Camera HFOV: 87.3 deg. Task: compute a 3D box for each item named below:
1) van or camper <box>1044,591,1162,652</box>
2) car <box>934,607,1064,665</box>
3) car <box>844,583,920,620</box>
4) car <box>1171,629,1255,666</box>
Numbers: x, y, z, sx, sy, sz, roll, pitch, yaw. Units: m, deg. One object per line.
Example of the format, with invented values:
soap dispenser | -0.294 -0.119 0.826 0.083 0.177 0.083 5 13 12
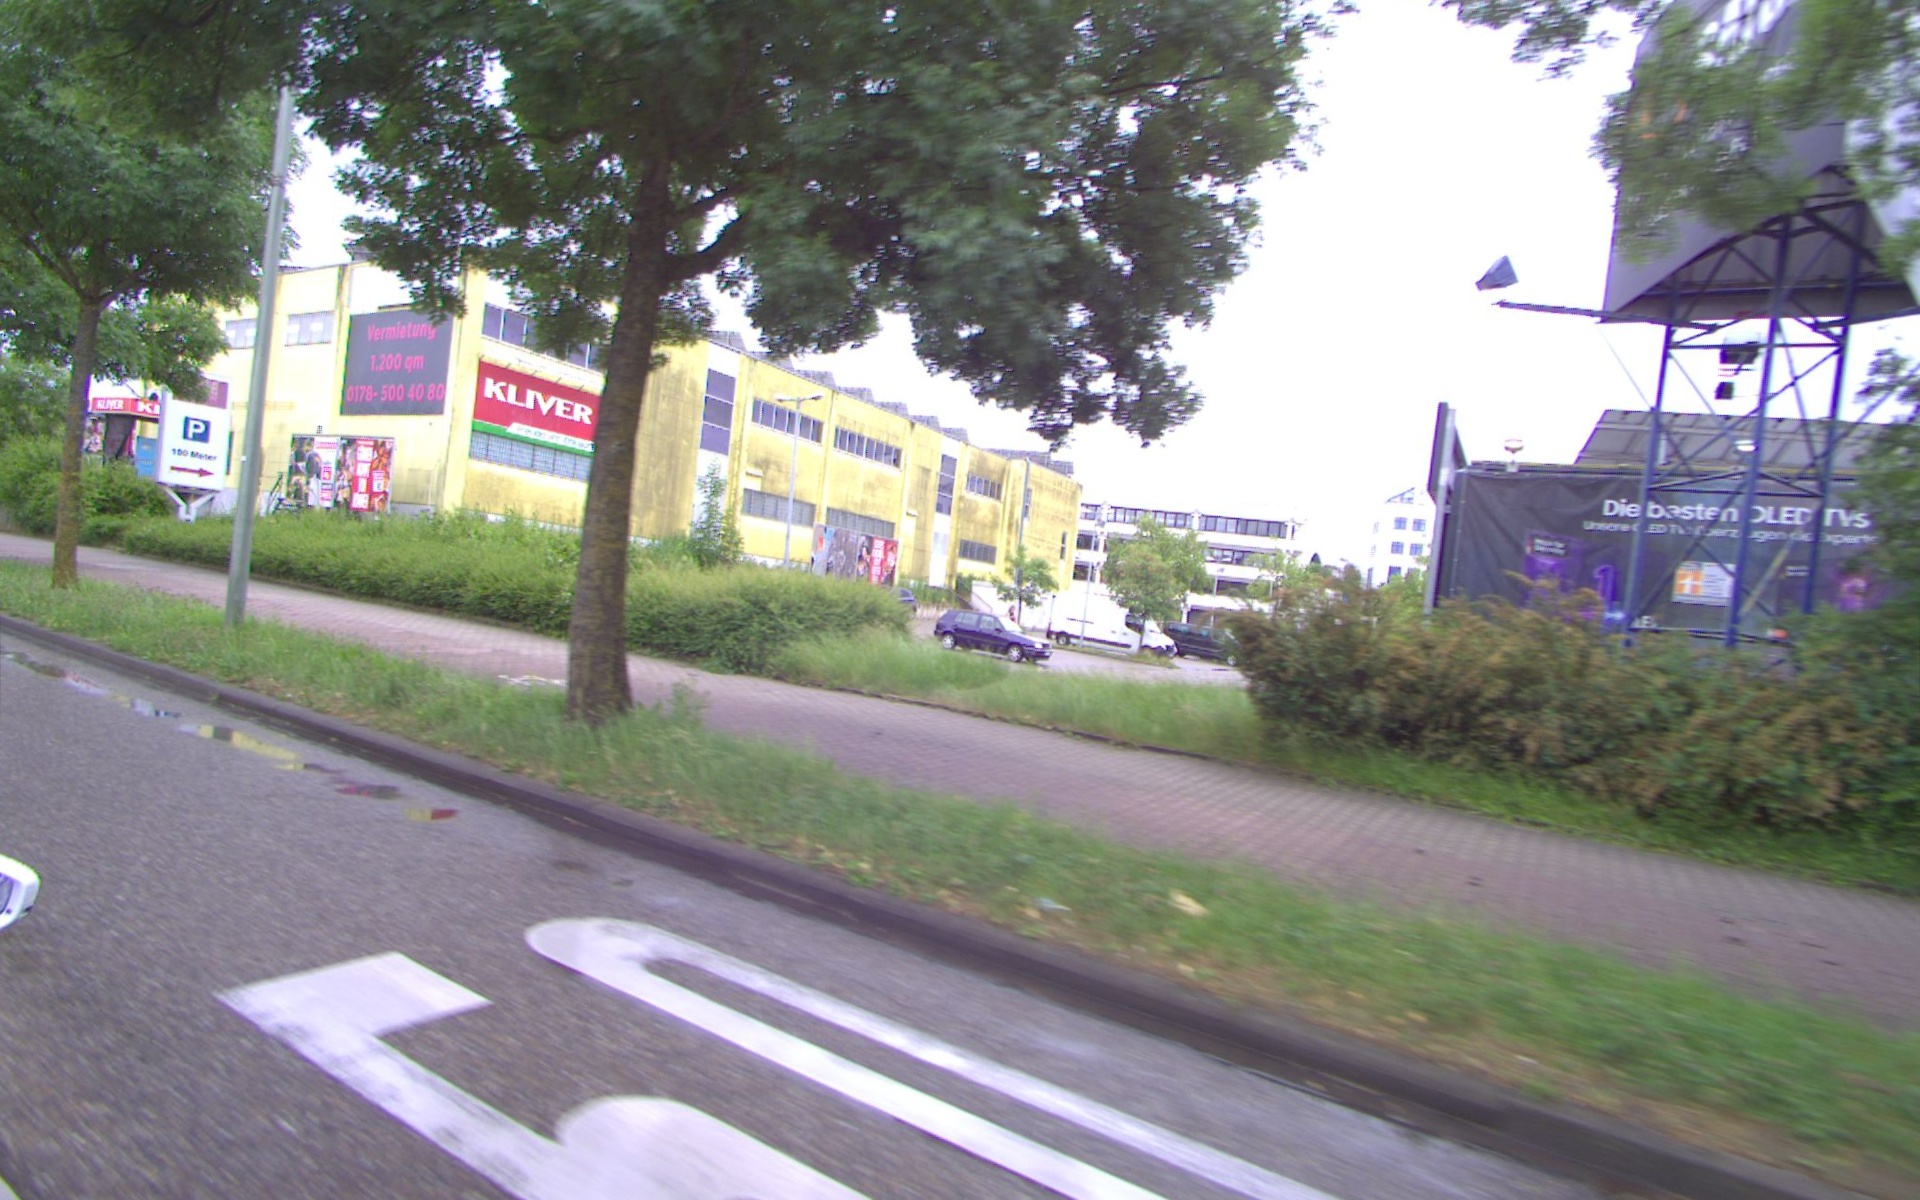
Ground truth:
van or camper | 6.799 1.003 47.946 4.941 2.282 2.151 7 0 32
car | 1.292 1.196 33.241 3.706 1.364 1.909 8 0 25
car | -4.047 0.093 53.033 1.879 1.459 3.992 7 -1 32
car | 14.465 2.716 57.533 4.254 1.593 1.909 7 0 27
